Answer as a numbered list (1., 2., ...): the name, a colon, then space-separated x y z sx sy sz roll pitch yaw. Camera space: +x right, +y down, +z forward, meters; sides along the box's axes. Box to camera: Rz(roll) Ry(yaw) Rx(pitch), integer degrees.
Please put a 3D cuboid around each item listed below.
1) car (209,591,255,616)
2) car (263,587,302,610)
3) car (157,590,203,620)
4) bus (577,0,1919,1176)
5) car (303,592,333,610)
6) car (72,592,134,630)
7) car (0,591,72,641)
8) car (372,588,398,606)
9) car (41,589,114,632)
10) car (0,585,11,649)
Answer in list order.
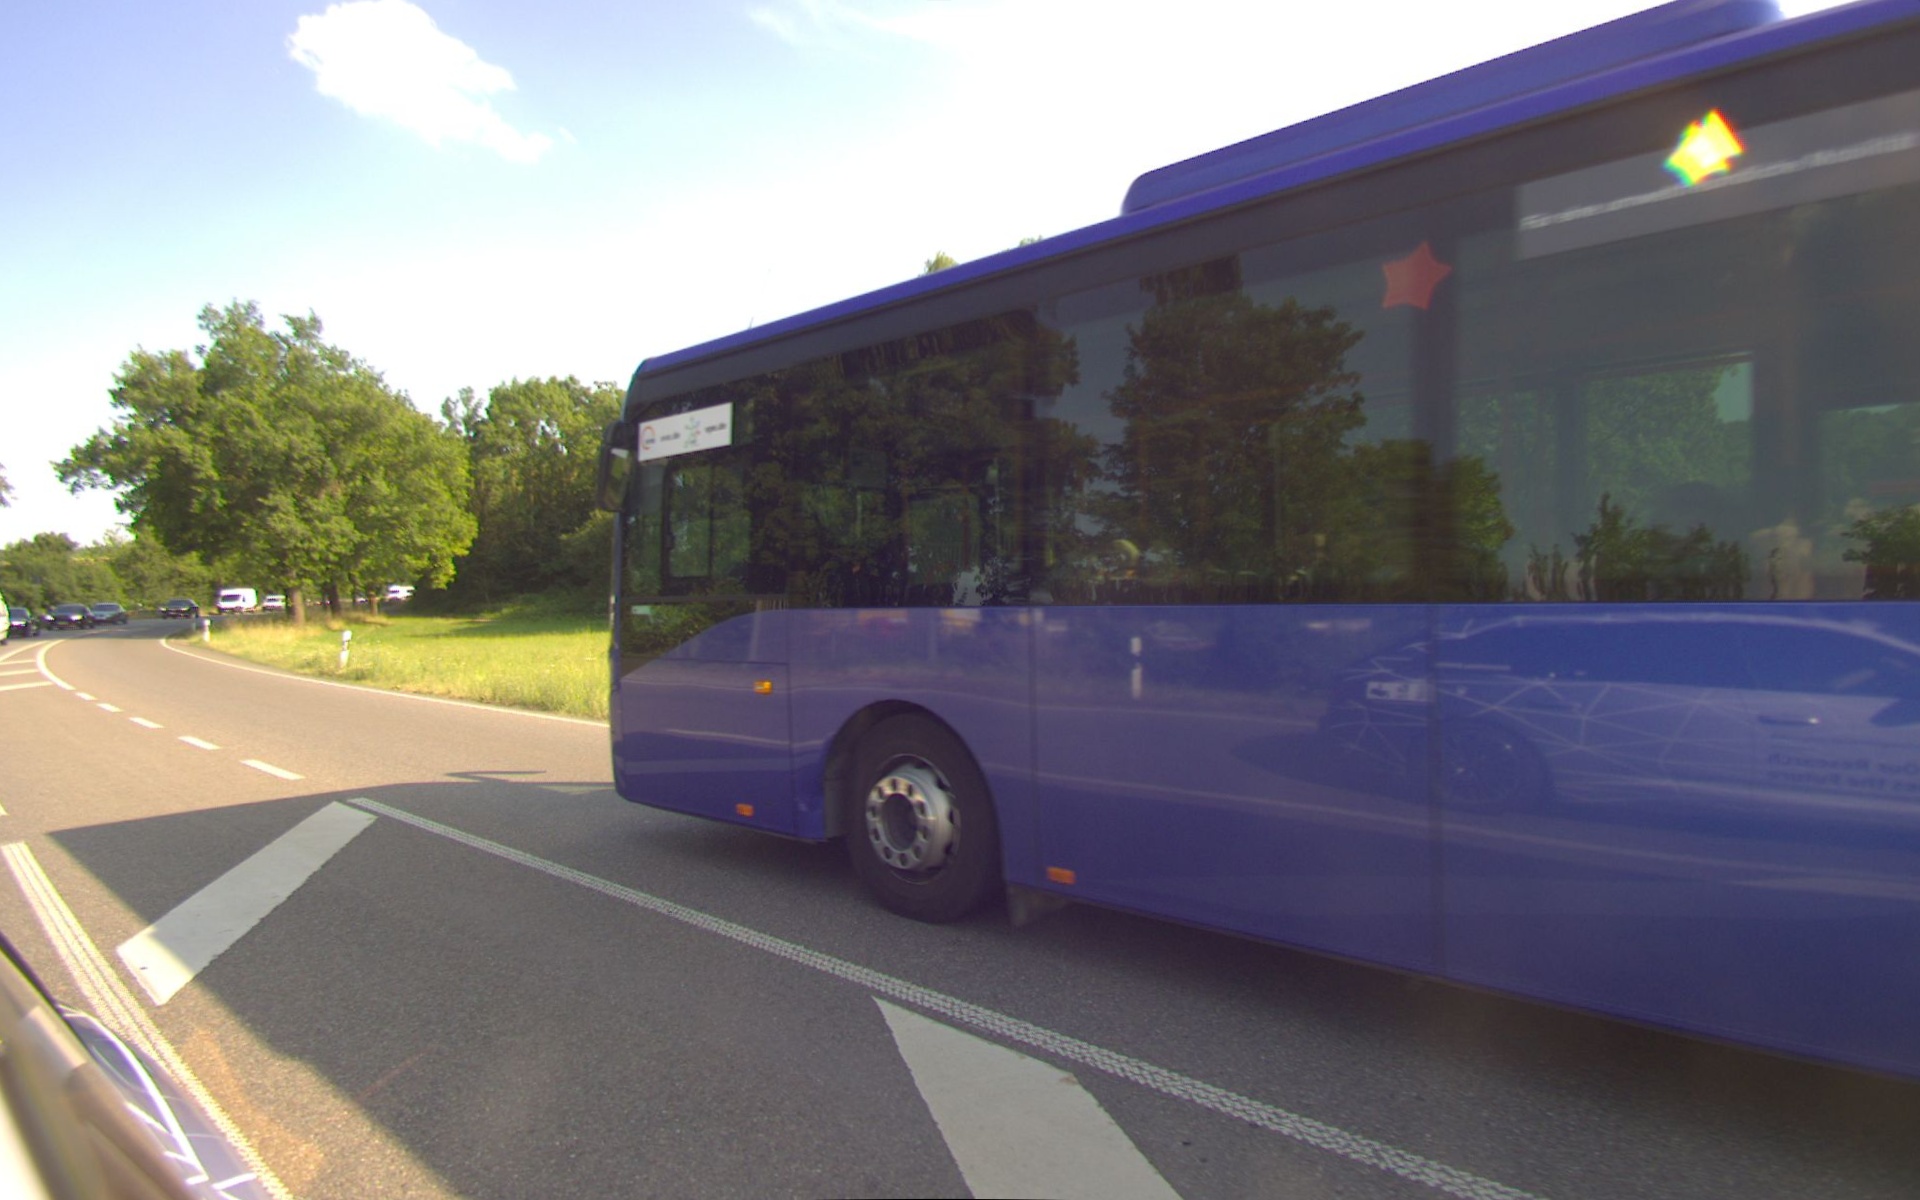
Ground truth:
1. car: -73.343 0.317 102.099 2.054 2.435 5.157 -1 1 -15
2. car: -76.573 -0.199 114.423 2.054 2.435 5.157 -1 1 -15
3. car: -65.414 0.379 84.932 2.054 2.435 5.159 -1 1 -27
4. bus: 3.336 -0.371 2.950 12.117 3.205 2.766 0 1 40
5. car: -87.597 0.117 138.174 2.054 2.435 5.157 -1 1 -15
6. car: -59.038 0.721 69.780 2.054 2.435 5.159 -1 1 -27
7. car: -48.562 0.768 52.836 2.054 2.435 5.159 -1 1 -27
8. car: -85.284 -0.465 150.206 2.054 2.435 5.157 -1 1 -15
9. car: -53.120 0.567 61.032 2.054 2.435 5.159 -1 1 -27
10. car: -37.535 0.662 38.062 2.056 2.435 5.154 -2 1 -37
